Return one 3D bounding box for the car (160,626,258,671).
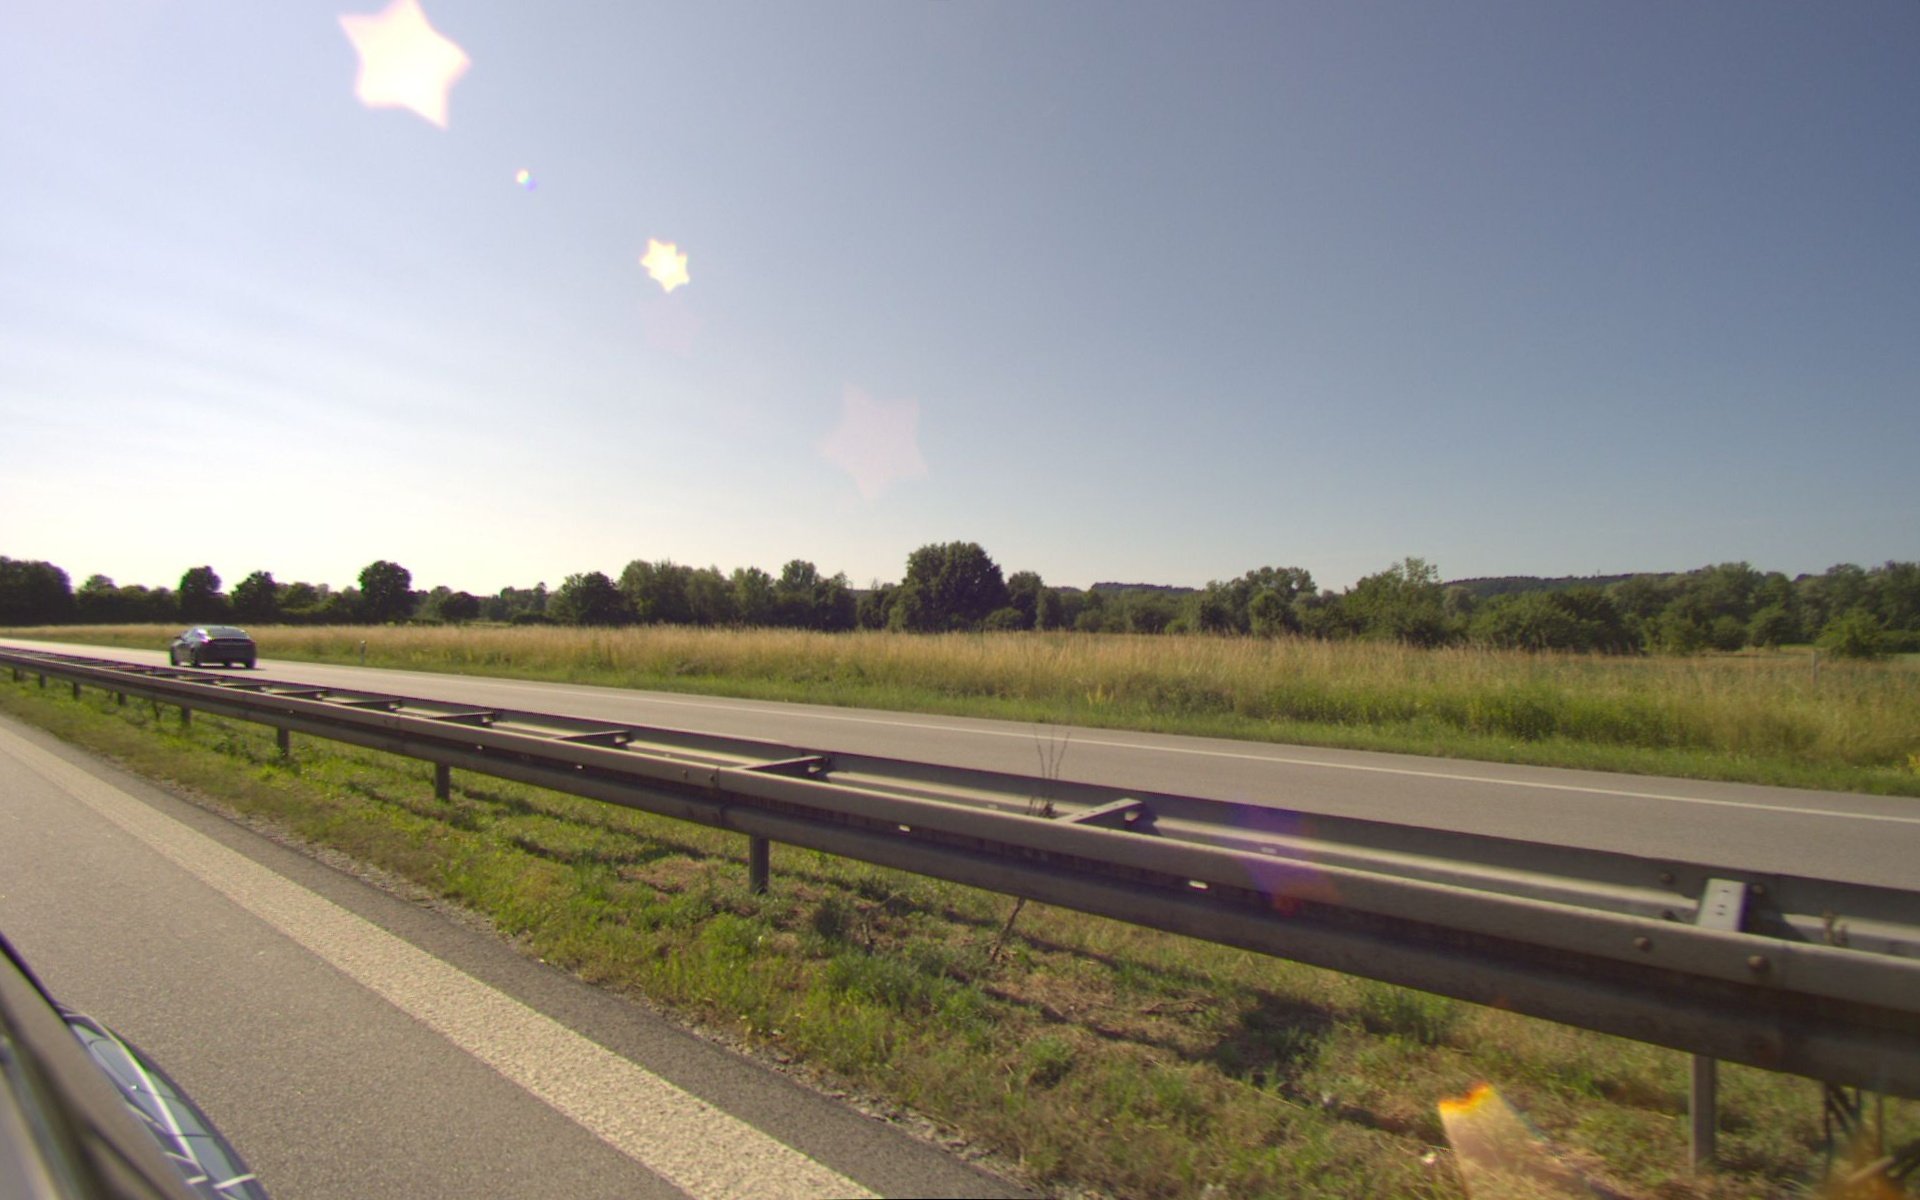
[{"bbox_3d":[-26.556,1.666,35.731,4.910,1.496,1.751,-1,-2,41],"label":"car"}]
